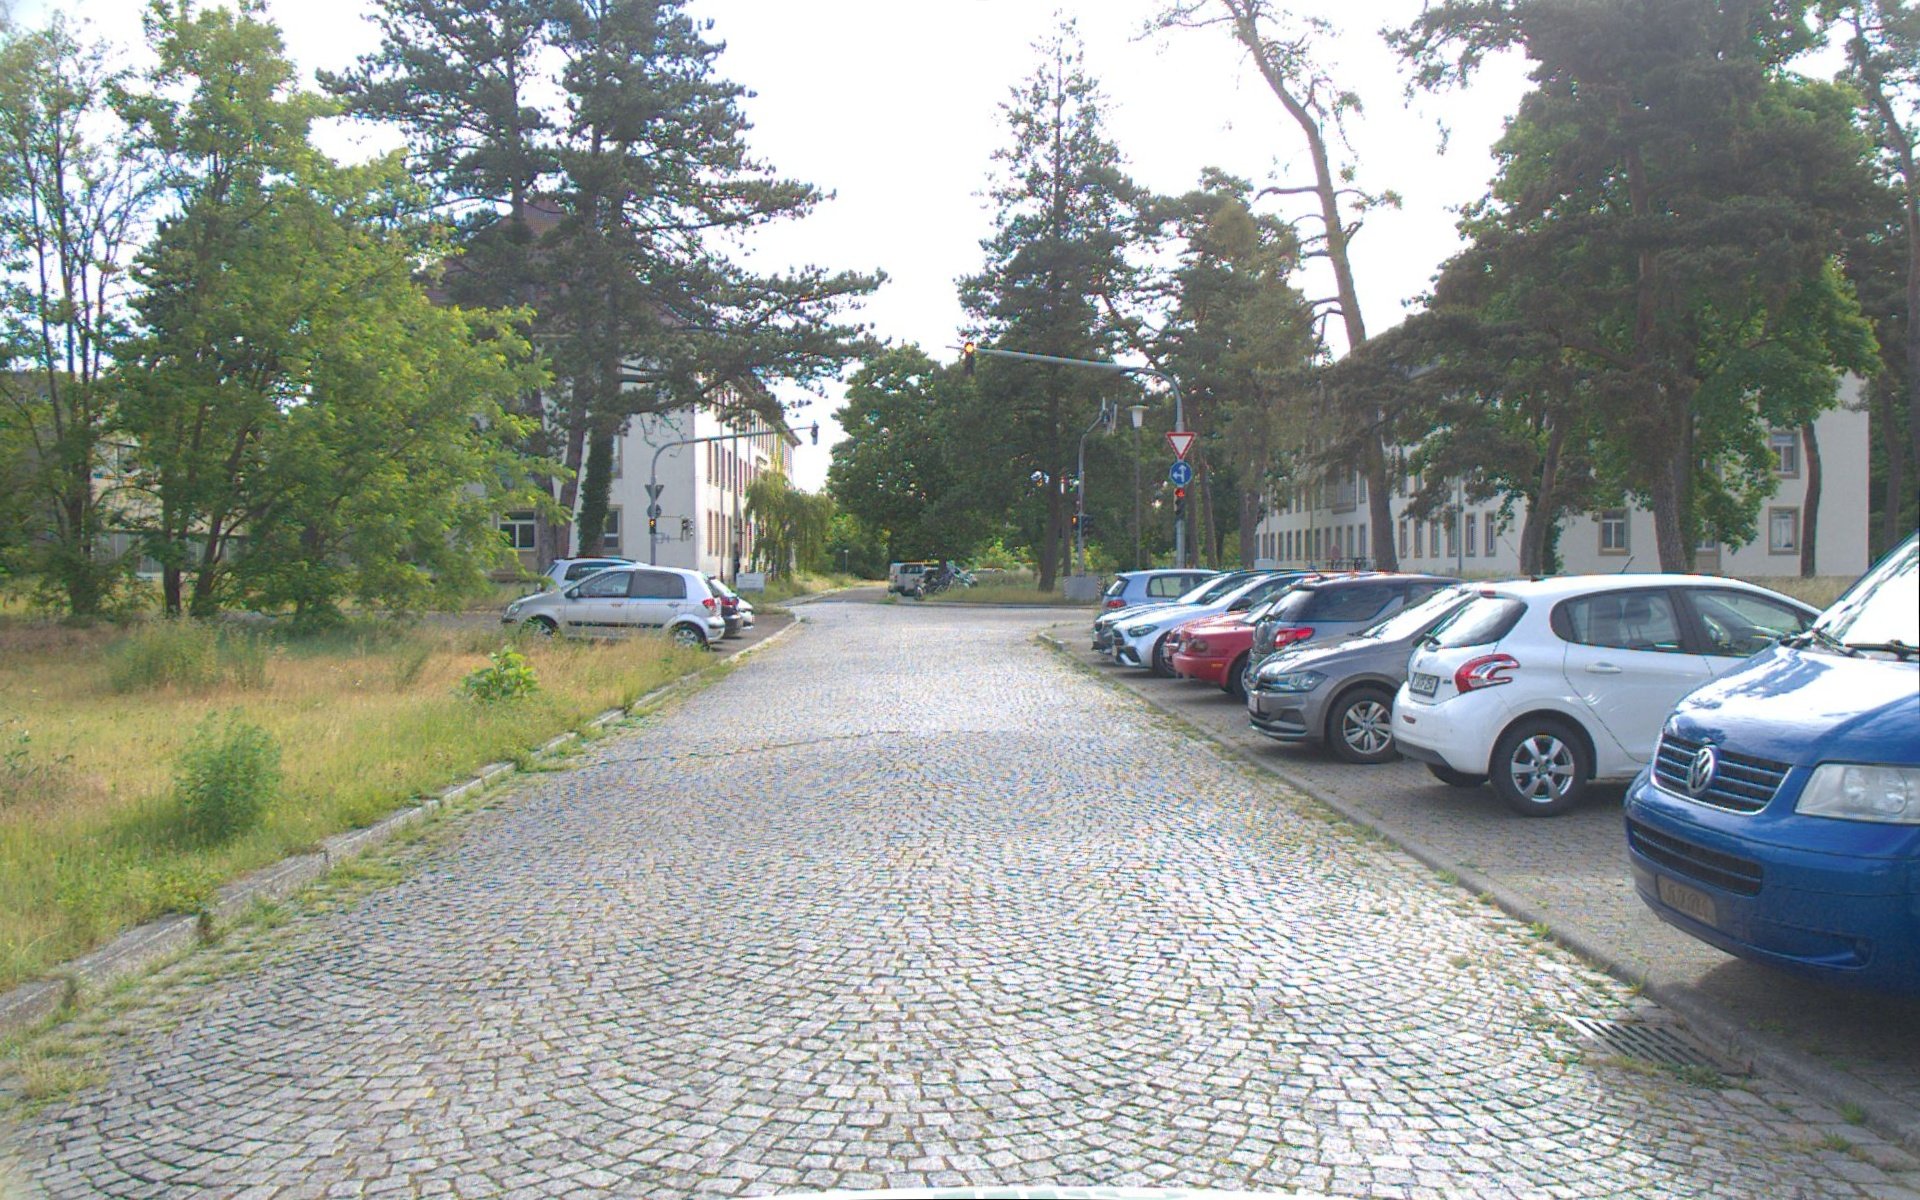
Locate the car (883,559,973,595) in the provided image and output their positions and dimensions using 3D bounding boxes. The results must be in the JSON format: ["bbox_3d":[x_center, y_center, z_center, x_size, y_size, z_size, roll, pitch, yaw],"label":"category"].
[{"bbox_3d":[-1.849,-1.327,96.261,4.962,2.049,1.994,0,1,-13],"label":"car"}]

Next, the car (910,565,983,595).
[{"bbox_3d":[-0.794,-1.150,93.026,3.912,1.673,1.997,0,1,-8],"label":"car"}]

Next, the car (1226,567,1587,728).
[{"bbox_3d":[4.570,0.433,17.109,3.235,1.530,1.659,-1,1,-13],"label":"car"}]

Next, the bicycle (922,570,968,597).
[{"bbox_3d":[-0.719,-0.778,79.066,2.120,1.290,0.811,0,1,-9],"label":"bicycle"}]

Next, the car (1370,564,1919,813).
[{"bbox_3d":[4.625,0.532,11.257,3.227,1.531,1.663,0,1,-4],"label":"car"}]

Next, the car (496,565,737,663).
[{"bbox_3d":[-5.824,0.202,28.474,3.912,1.579,1.997,0,1,-8],"label":"car"}]

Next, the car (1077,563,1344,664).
[{"bbox_3d":[4.068,0.190,27.102,4.045,1.570,1.661,0,1,-8],"label":"car"}]

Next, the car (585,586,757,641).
[{"bbox_3d":[-6.271,0.274,36.178,3.602,1.113,1.643,0,1,-8],"label":"car"}]

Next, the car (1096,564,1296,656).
[{"bbox_3d":[4.206,0.157,29.679,3.325,1.570,1.389,0,1,-8],"label":"car"}]

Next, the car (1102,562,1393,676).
[{"bbox_3d":[4.182,0.245,24.294,3.912,1.570,1.661,0,1,-8],"label":"car"}]

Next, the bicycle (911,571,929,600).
[{"bbox_3d":[-1.799,-0.665,74.676,0.793,1.290,1.973,0,1,-1],"label":"bicycle"}]

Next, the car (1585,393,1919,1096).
[{"bbox_3d":[4.882,0.401,5.878,4.687,2.075,1.737,0,1,-3],"label":"car"}]

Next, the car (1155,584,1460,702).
[{"bbox_3d":[4.107,0.479,19.808,3.230,1.289,1.661,0,1,-8],"label":"car"}]

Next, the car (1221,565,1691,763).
[{"bbox_3d":[4.204,0.478,14.215,3.535,1.533,1.659,-1,1,-13],"label":"car"}]

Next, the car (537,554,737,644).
[{"bbox_3d":[-6.577,-0.035,33.973,3.913,1.780,1.923,0,1,-9],"label":"car"}]

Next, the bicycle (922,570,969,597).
[{"bbox_3d":[-0.695,-0.774,78.480,2.120,1.290,0.811,0,1,-9],"label":"bicycle"}]

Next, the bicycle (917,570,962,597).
[{"bbox_3d":[-0.991,-0.791,80.270,2.120,1.290,0.811,0,1,-9],"label":"bicycle"}]

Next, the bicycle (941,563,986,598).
[{"bbox_3d":[0.170,-0.946,79.810,2.120,1.644,0.811,0,1,-9],"label":"bicycle"}]

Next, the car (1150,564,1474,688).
[{"bbox_3d":[4.641,0.309,22.075,3.912,1.570,1.661,0,1,-8],"label":"car"}]

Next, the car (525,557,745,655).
[{"bbox_3d":[-6.003,0.074,30.961,3.912,1.735,1.997,0,1,-8],"label":"car"}]
